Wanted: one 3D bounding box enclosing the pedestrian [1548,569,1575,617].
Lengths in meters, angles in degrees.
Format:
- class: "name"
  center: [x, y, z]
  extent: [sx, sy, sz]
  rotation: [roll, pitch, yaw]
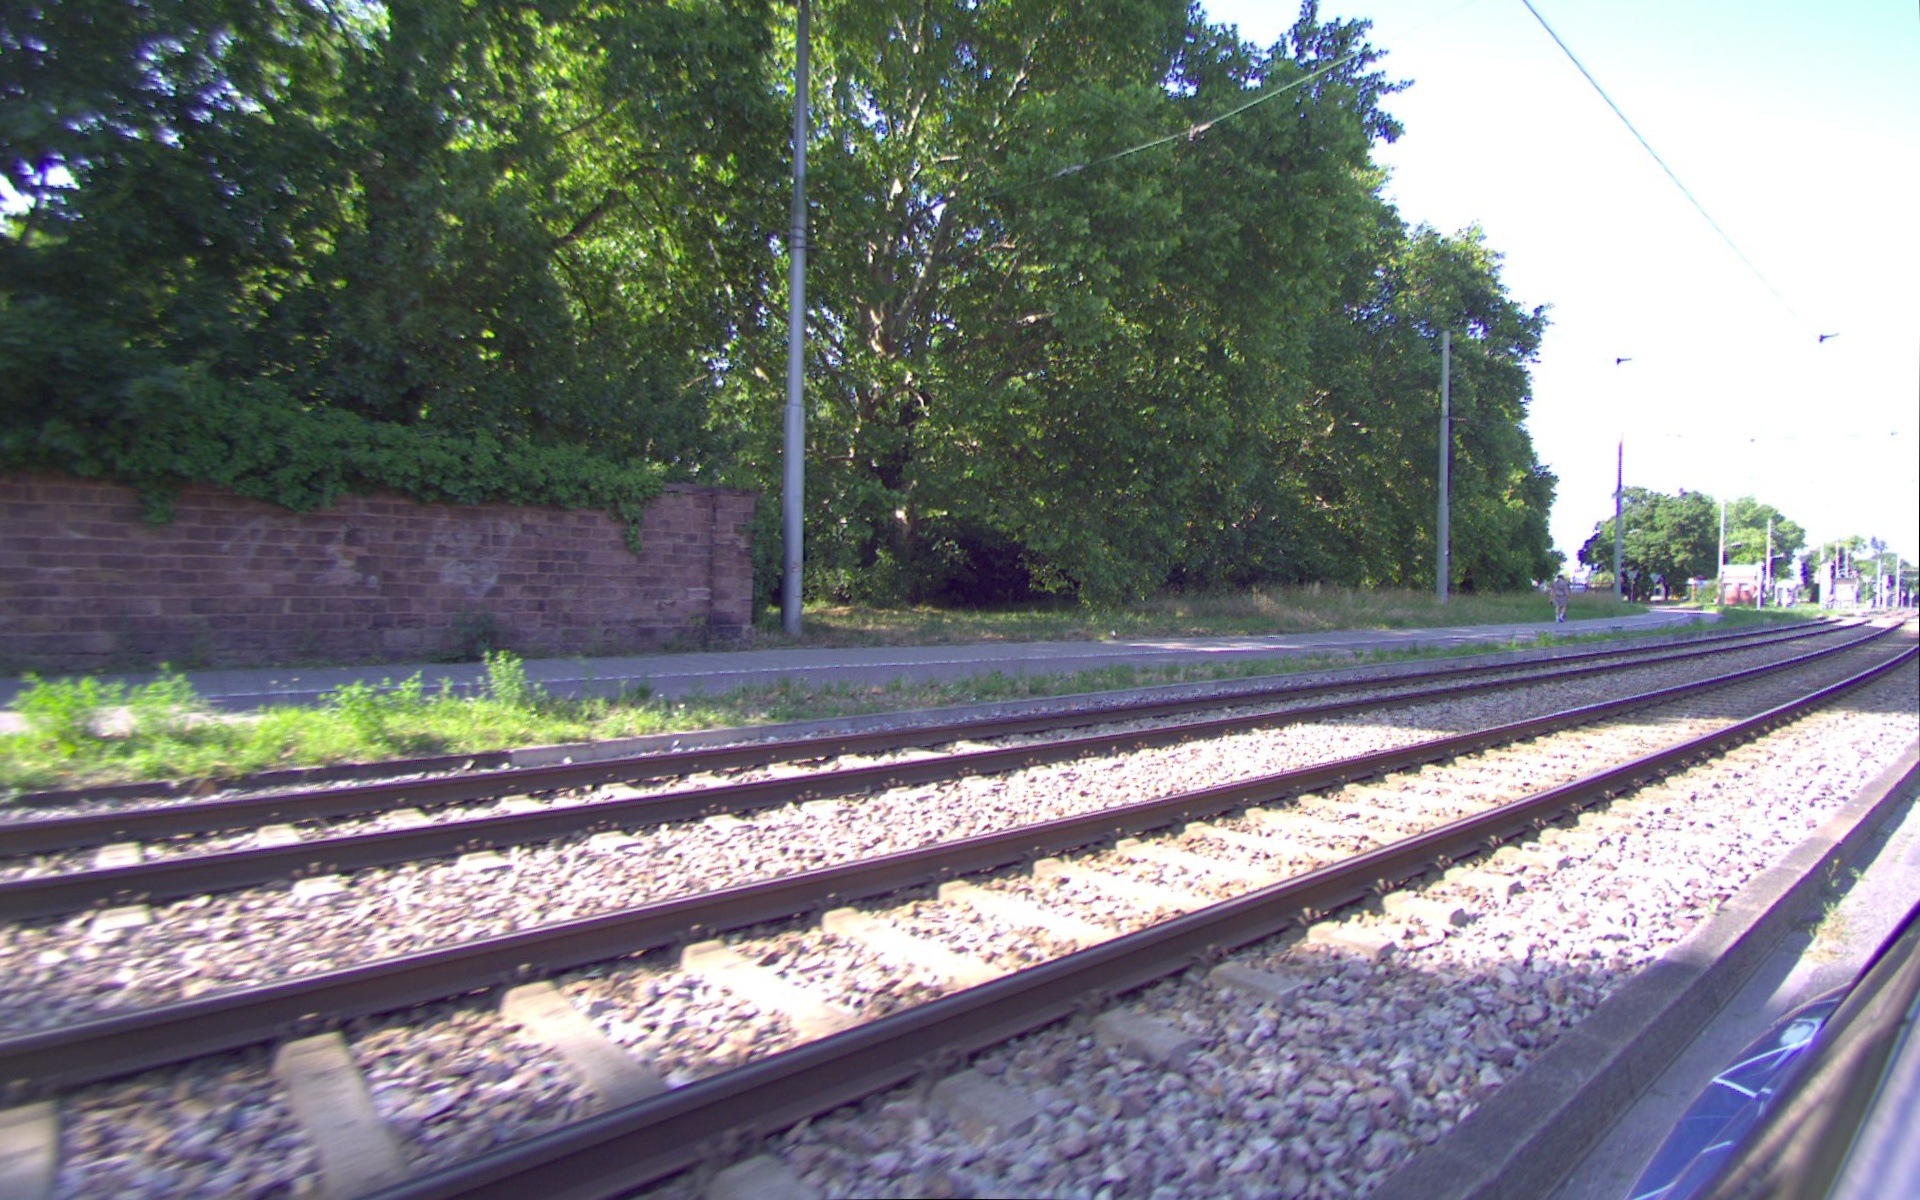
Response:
- class: "pedestrian"
  center: [21.797, -0.251, 36.651]
  extent: [0.869, 1.737, 0.502]
  rotation: [0, 1, -37]
